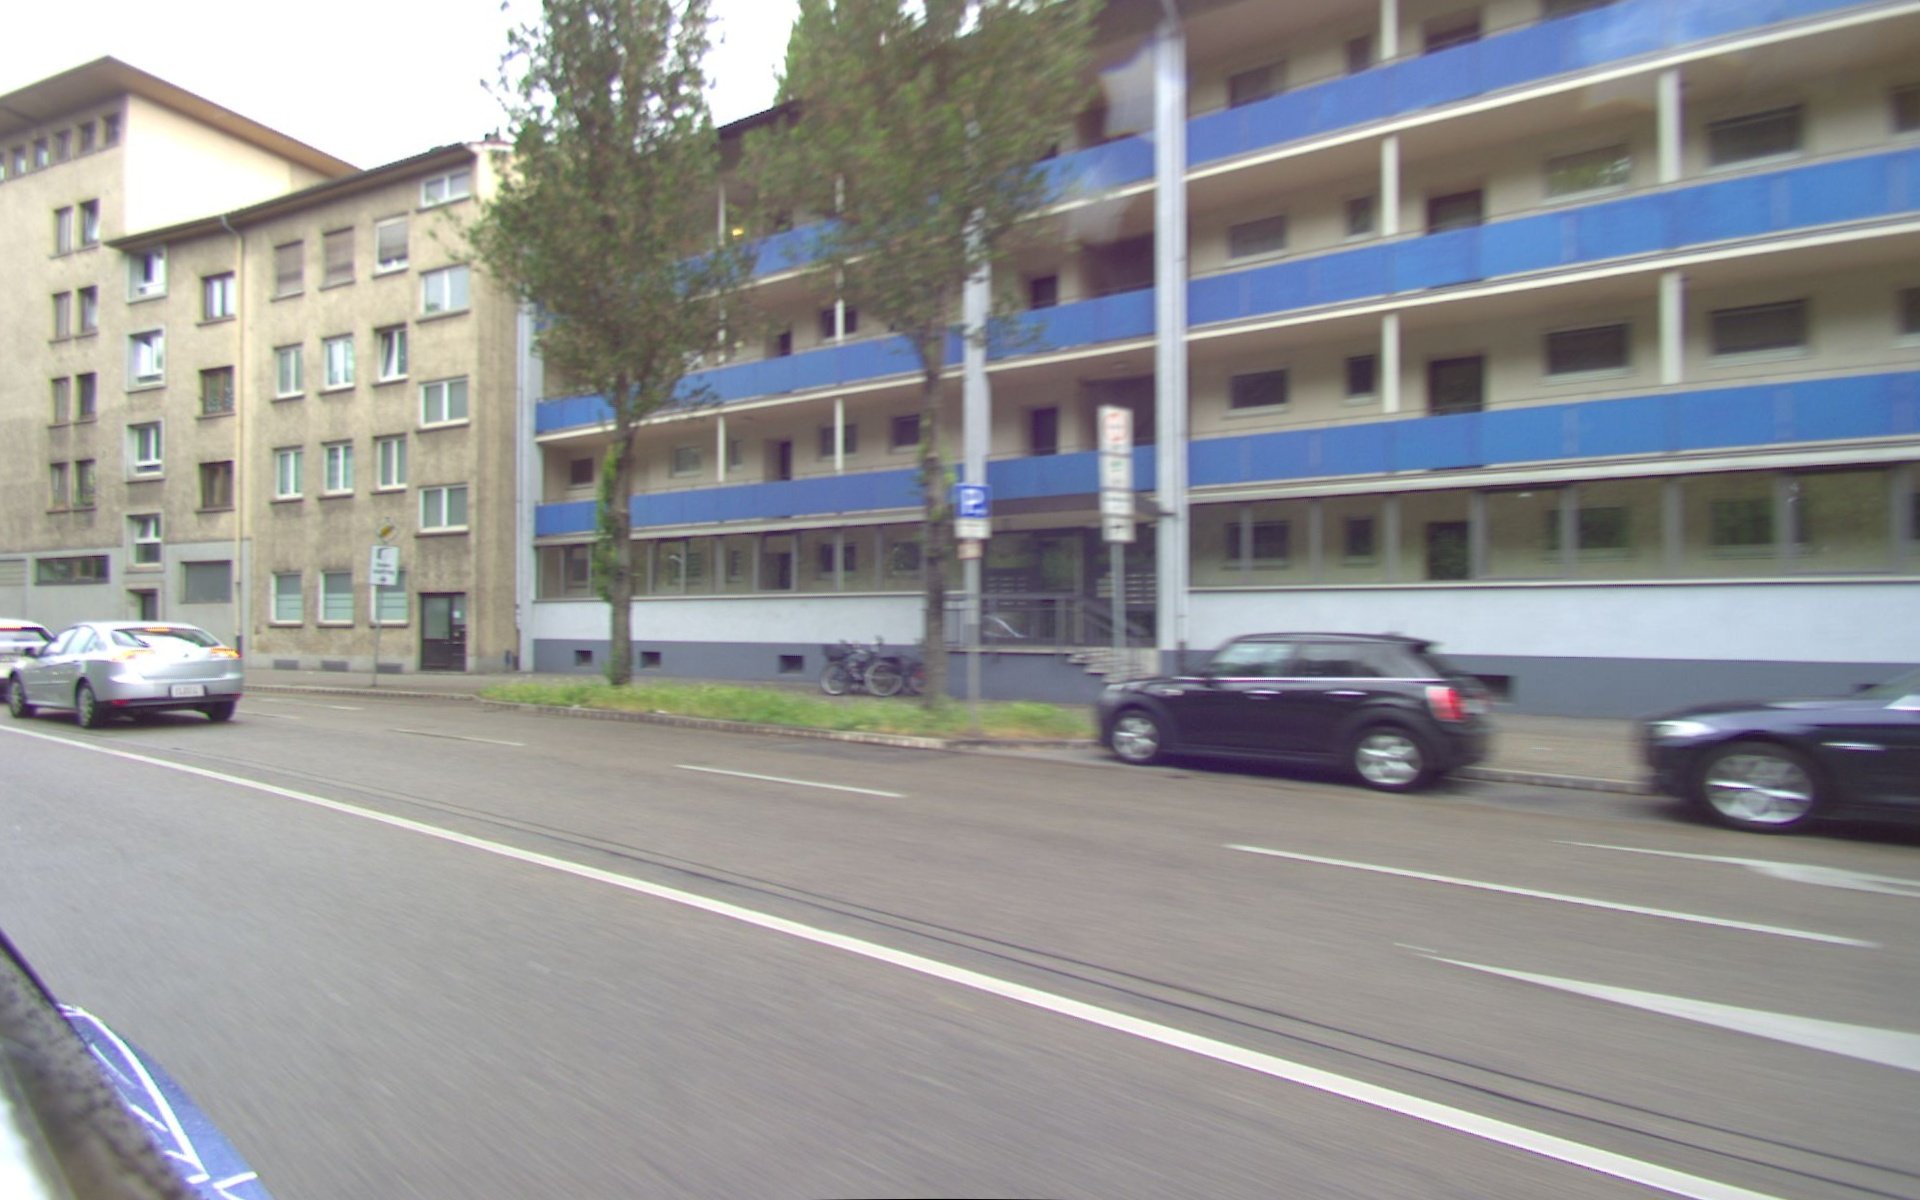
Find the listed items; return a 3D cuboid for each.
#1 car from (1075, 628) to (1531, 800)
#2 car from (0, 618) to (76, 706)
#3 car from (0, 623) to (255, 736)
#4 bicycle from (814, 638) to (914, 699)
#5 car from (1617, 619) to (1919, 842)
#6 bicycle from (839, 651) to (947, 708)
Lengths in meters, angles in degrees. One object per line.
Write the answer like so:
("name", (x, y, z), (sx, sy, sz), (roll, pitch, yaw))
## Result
("car", (3.378, 1.023, 10.376), (4.084, 1.414, 1.762), (-1, -3, 39))
("car", (-18.727, 1.113, 18.870), (5.007, 1.528, 1.807), (-1, -3, 30))
("car", (-12.470, 1.068, 14.934), (4.521, 1.436, 1.739), (-1, -2, 32))
("bicycle", (-1.723, 1.215, 18.197), (1.722, 1.031, 0.609), (-1, -2, 23))
("car", (7.450, 0.892, 6.840), (4.888, 1.450, 1.802), (-1, -3, 40))
("bicycle", (-1.141, 1.317, 17.020), (1.735, 0.832, 0.662), (-1, 2, 32))
